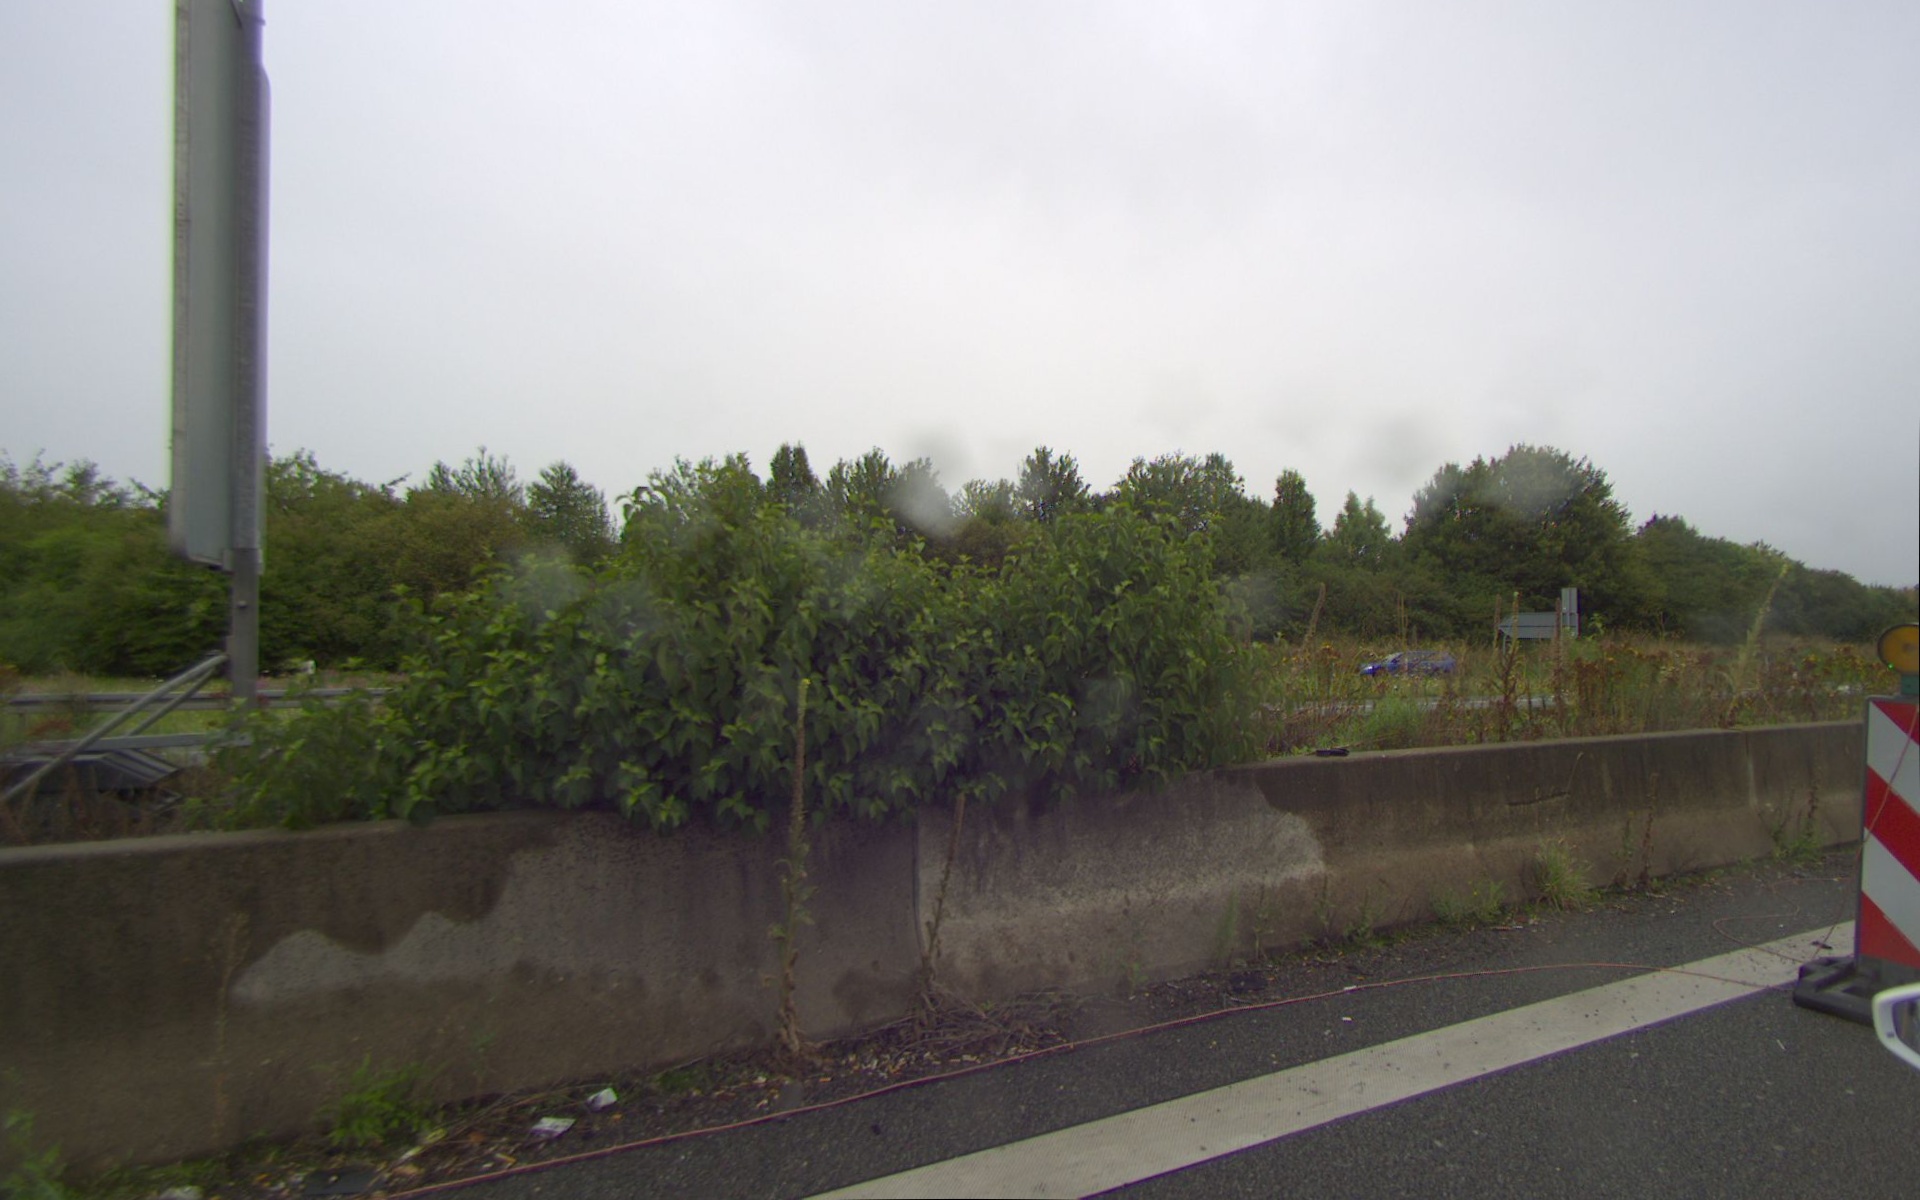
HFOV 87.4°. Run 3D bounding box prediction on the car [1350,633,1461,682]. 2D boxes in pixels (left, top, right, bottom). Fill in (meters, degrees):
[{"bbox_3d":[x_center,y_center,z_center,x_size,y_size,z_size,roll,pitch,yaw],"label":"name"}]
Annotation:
[{"bbox_3d":[19.944,2.555,45.054,4.198,2.138,1.697,0,-2,3],"label":"car"}]
